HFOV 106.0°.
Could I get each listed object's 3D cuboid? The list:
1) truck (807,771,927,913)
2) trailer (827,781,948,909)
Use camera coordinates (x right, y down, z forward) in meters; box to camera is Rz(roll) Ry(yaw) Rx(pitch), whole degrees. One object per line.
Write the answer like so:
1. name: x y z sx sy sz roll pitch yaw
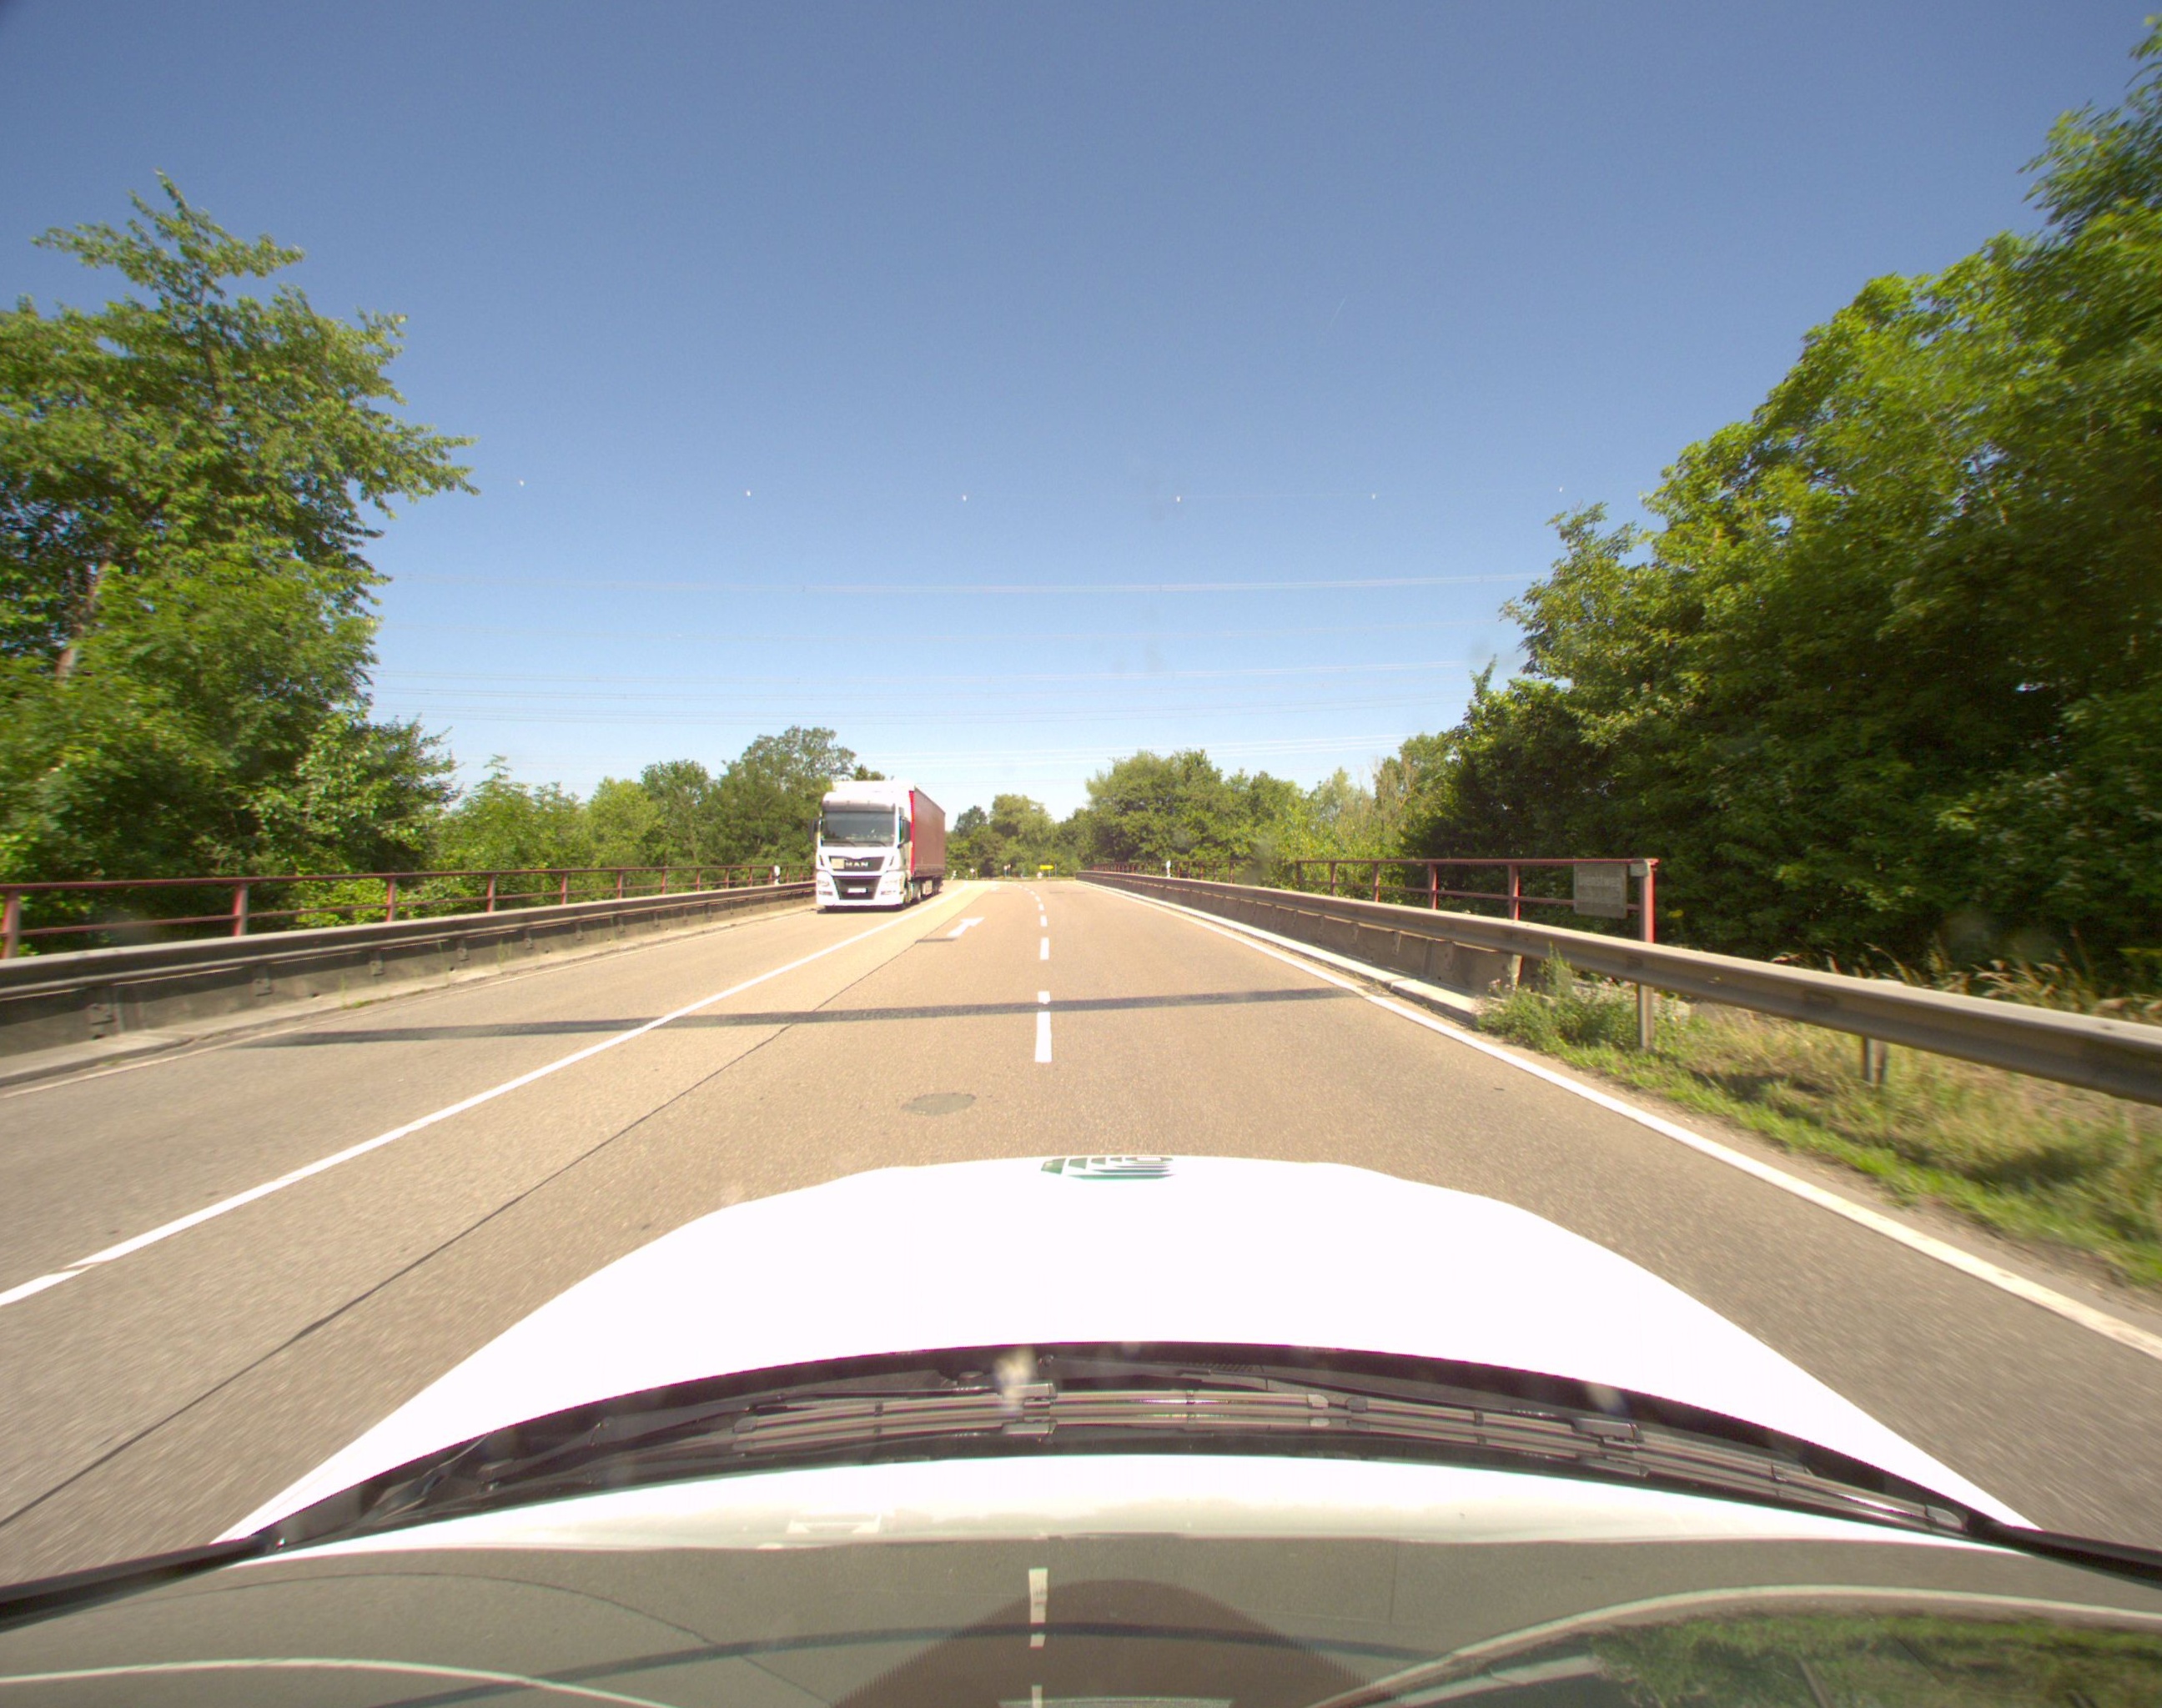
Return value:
1. truck: -6.710 -0.328 26.380 2.765 4.034 5.844 -1 -1 -5
2. trailer: -7.341 -0.208 33.220 2.764 4.062 14.171 -1 -1 -5
